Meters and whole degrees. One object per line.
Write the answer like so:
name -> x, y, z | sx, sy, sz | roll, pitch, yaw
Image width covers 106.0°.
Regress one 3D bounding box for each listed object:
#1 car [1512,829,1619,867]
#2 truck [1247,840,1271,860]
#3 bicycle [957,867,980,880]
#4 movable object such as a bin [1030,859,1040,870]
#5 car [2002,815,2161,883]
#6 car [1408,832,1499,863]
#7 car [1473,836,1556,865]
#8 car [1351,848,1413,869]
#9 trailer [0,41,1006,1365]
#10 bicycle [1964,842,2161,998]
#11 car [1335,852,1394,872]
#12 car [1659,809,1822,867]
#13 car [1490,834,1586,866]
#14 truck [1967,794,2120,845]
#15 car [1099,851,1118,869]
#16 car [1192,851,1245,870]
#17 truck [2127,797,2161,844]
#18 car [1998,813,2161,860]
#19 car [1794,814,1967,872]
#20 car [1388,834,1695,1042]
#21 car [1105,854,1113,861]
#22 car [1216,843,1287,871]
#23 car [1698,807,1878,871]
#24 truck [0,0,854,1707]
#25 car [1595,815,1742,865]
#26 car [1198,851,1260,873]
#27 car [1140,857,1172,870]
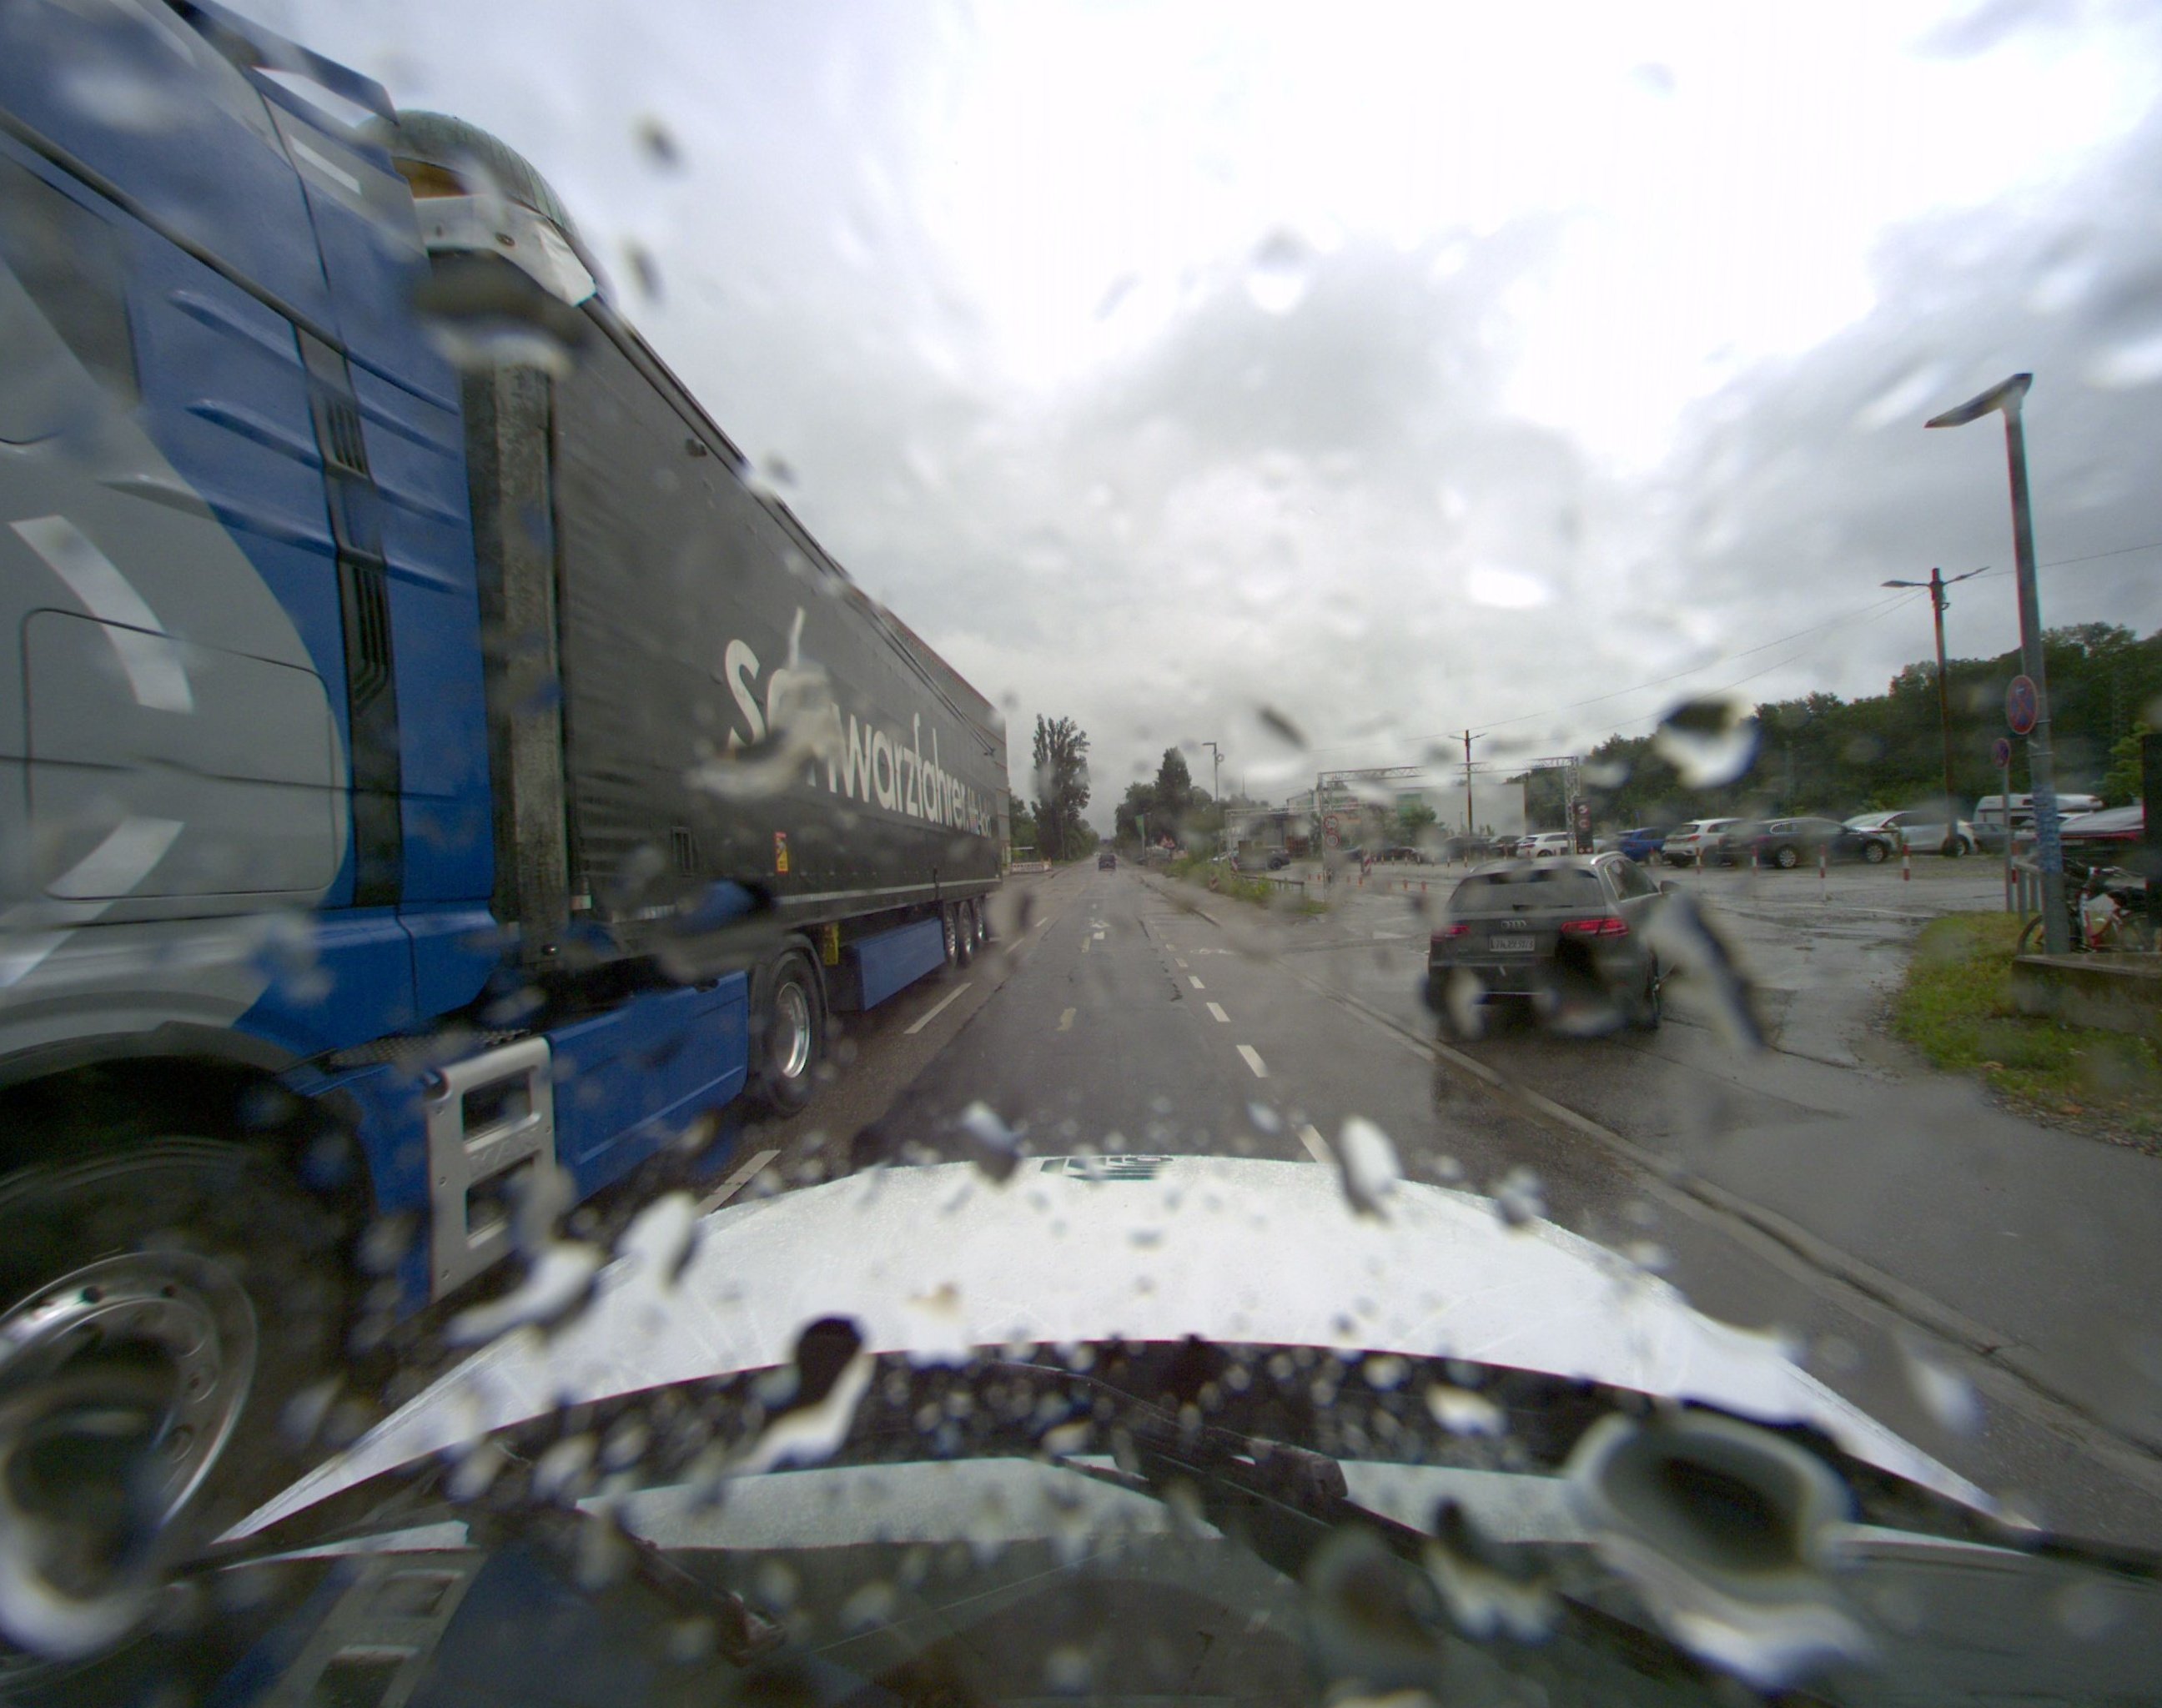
car -> 22.868, -0.267, 38.566 | 3.812, 1.484, 1.930 | -4, -2, 4
truck -> 24.975, -0.555, 114.622 | 2.290, 2.659, 7.427 | -3, 0, 5
bicycle -> -9.523, 1.624, 68.694 | 1.853, 1.077, 0.544 | 0, -1, 0
movable object such as a bin -> -6.249, 1.421, 110.490 | 1.293, 1.308, 1.446 | -2, 0, -4
car -> 21.802, -0.170, 16.237 | 4.571, 1.221, 1.978 | -3, -2, 0
car -> 22.785, -0.386, 49.911 | 4.610, 1.716, 2.016 | -1, -2, -4
car -> 29.223, -0.196, 54.979 | 4.425, 1.605, 2.044 | -4, -2, 1
car -> 22.563, 0.347, 61.133 | 3.971, 1.485, 2.001 | -1, -2, 2
trailer -> -3.326, -0.480, 9.757 | 3.283, 4.654, 13.732 | -2, -1, 1
bicycle -> 7.952, 0.464, 6.514 | 0.502, 1.084, 1.712 | -3, -1, 23
car -> 22.376, 0.644, 64.442 | 3.971, 1.409, 2.001 | -1, -2, 2
car -> 22.246, -0.512, 27.608 | 3.885, 1.584, 1.788 | -4, -2, 4
car -> 28.057, -0.233, 50.148 | 4.685, 1.605, 2.044 | -4, -2, 1
truck -> 50.619, -1.742, 43.020 | 2.064, 2.402, 5.086 | -2, 0, 2
car -> 2.938, 0.655, 88.342 | 1.986, 1.910, 4.201 | -2, -1, 1
car -> 11.352, 0.558, 67.385 | 4.165, 1.510, 1.891 | -1, -2, 2
truck -> 50.385, -1.591, 35.988 | 2.061, 2.138, 5.094 | -3, 0, 7
car -> 38.283, -0.639, 31.058 | 4.302, 1.589, 2.021 | -2, 0, 1
car -> 27.464, -0.353, 28.069 | 4.047, 1.659, 1.831 | -4, -2, 0
car -> 4.879, 0.648, 8.284 | 1.876, 1.456, 4.254 | -5, -1, 40
car -> 6.619, 0.843, 190.163 | 1.722, 1.687, 3.902 | -2, -1, 4
car -> 11.994, 0.240, 57.492 | 4.657, 1.735, 2.131 | -3, -2, 6
car -> 21.553, -0.418, 24.946 | 3.757, 1.584, 1.788 | -4, -2, 4
truck -> -3.447, -0.665, 3.058 | 3.283, 4.654, 6.033 | -2, -1, 0
car -> 22.141, -0.494, 30.844 | 4.026, 1.484, 1.930 | -4, -2, 4
car -> 10.967, 0.611, 60.438 | 4.278, 1.517, 1.820 | -1, -2, 2
car -> 9.817, 1.218, 106.668 | 4.117, 1.569, 1.767 | -3, -1, 4
